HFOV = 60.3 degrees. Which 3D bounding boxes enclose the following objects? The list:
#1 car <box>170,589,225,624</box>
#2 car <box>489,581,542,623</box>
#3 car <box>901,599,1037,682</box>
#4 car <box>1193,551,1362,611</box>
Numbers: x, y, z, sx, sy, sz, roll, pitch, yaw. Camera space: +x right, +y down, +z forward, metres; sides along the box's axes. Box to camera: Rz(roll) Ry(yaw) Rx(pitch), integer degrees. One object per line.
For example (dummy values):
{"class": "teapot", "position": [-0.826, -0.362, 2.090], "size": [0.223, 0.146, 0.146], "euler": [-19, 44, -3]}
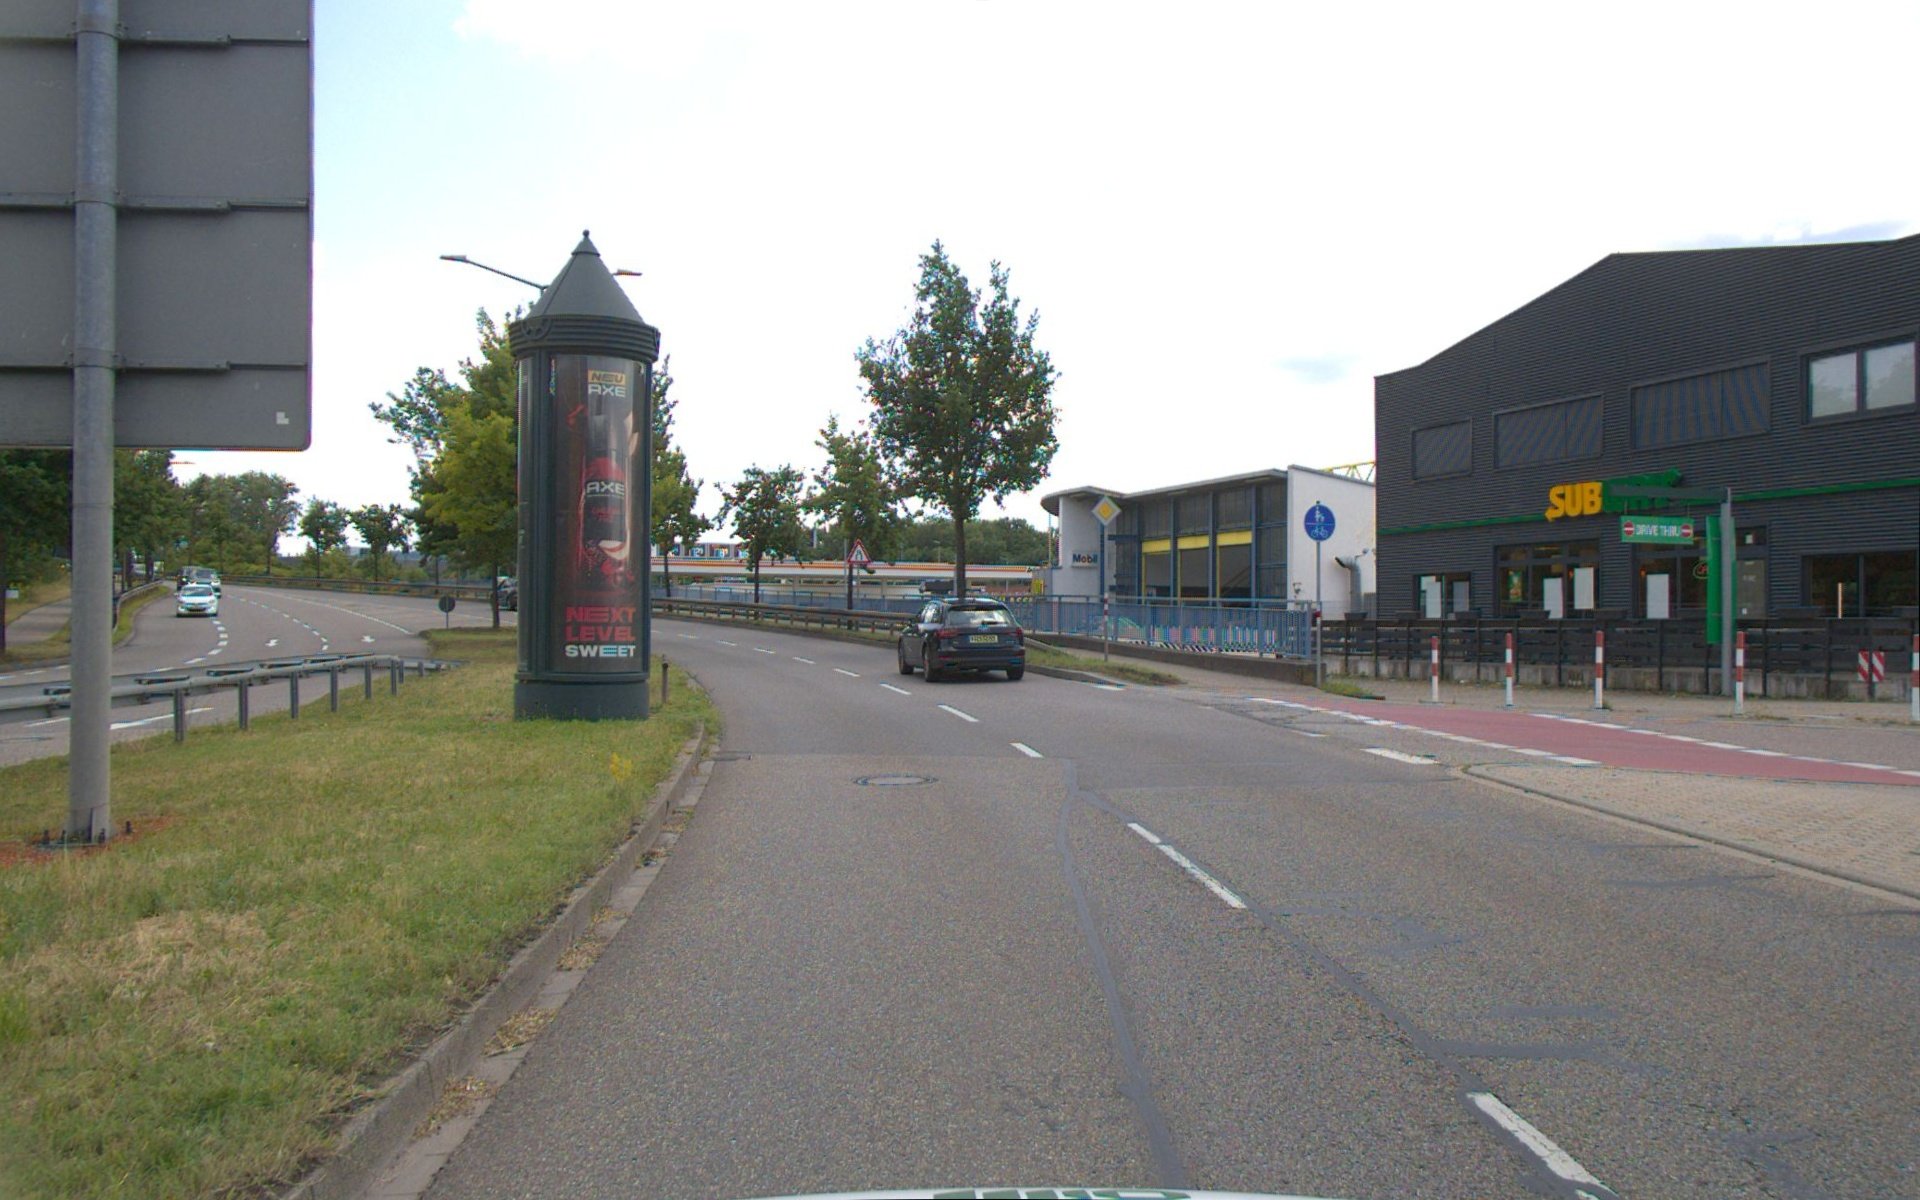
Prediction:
{"class": "car", "position": [-36.367, 0.335, 78.955], "size": [1.964, 1.559, 4.306], "euler": [-2, 0, -20]}
{"class": "car", "position": [-22.820, 0.133, 84.729], "size": [1.967, 2.073, 4.677], "euler": [0, -1, -24]}
{"class": "car", "position": [0.074, 0.688, 30.449], "size": [1.956, 1.415, 4.568], "euler": [0, 0, -7]}
{"class": "car", "position": [11.333, -0.633, 59.001], "size": [5.723, 2.049, 2.217], "euler": [0, -1, -23]}
